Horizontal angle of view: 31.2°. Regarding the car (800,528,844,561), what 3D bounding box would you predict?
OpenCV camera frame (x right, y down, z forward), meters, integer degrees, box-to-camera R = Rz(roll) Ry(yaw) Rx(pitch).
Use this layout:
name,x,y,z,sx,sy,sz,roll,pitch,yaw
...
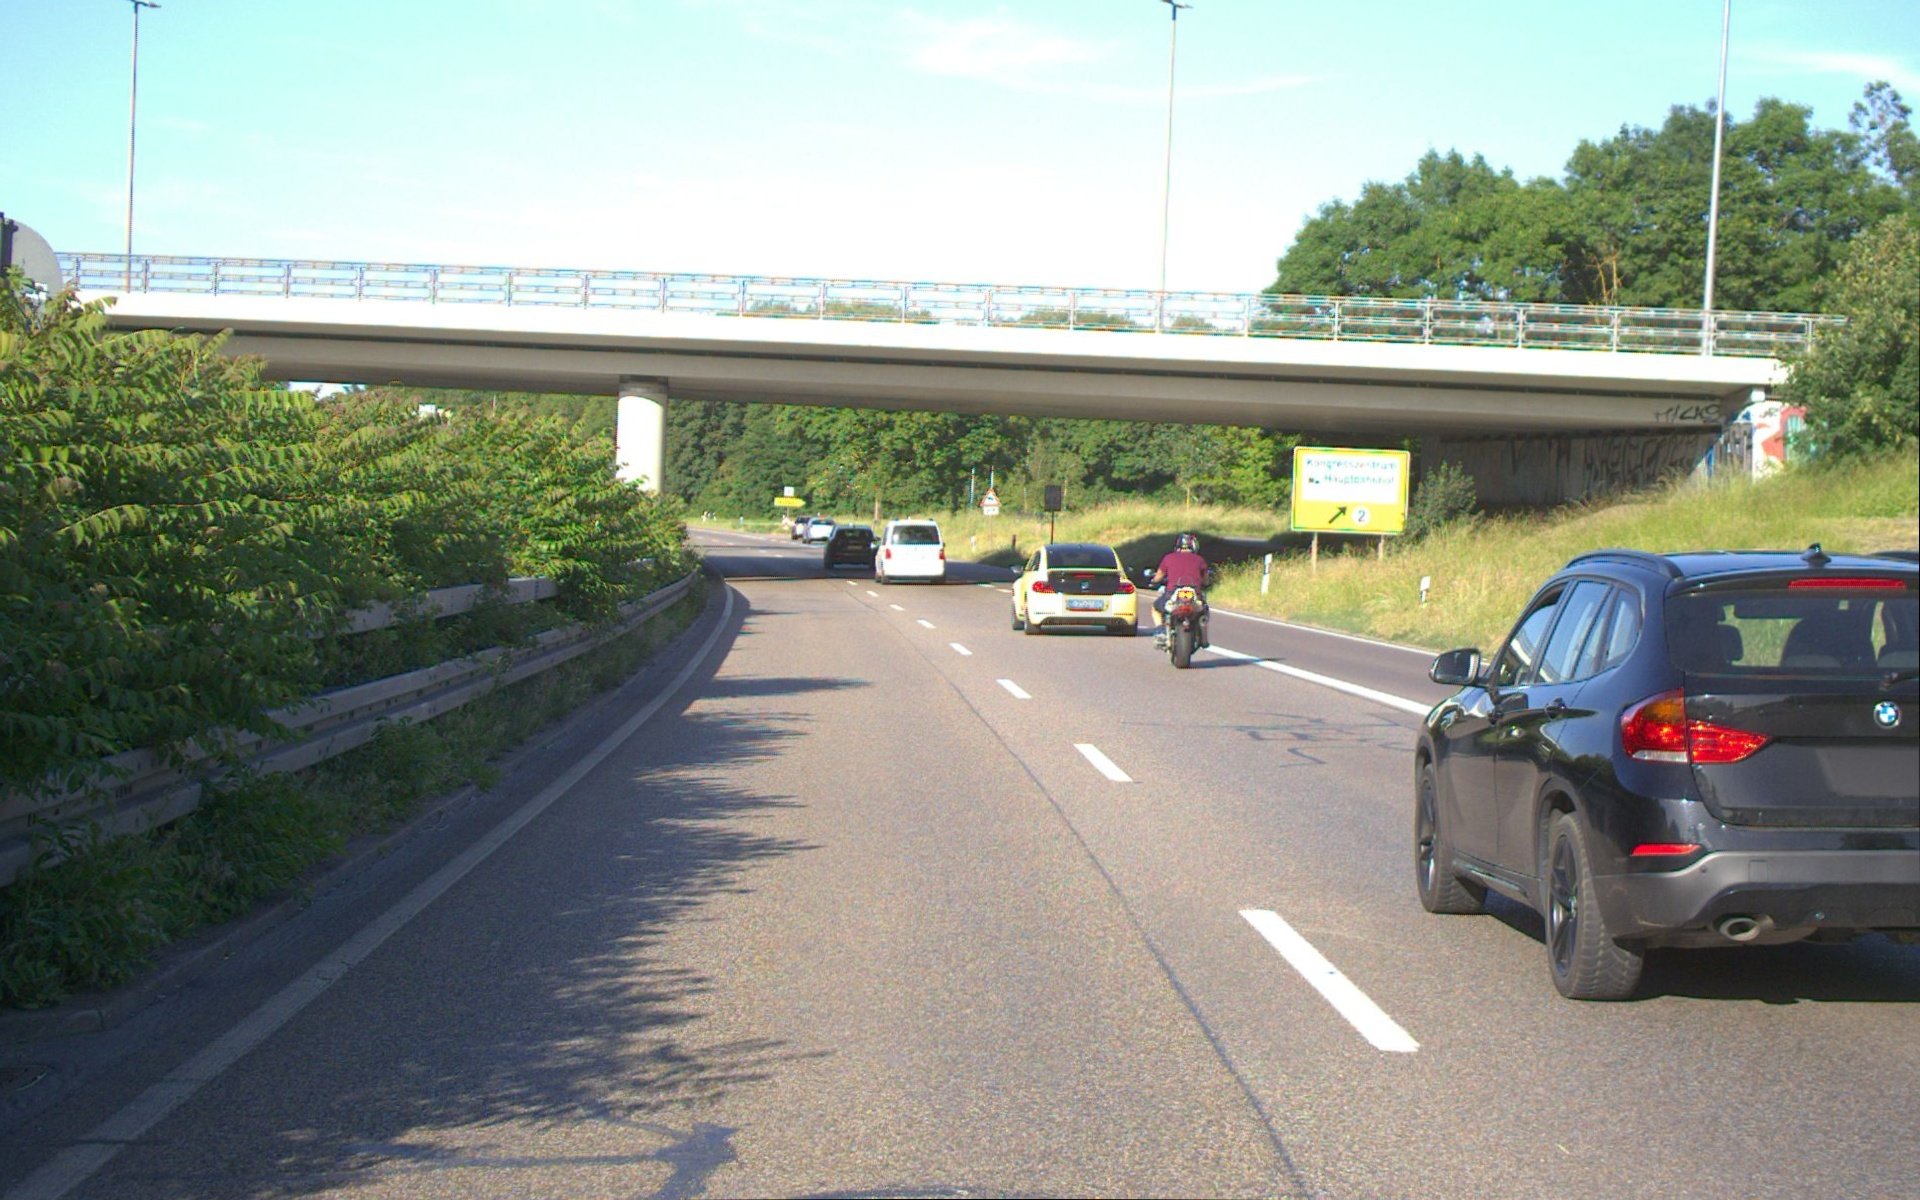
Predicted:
name,x,y,z,sx,sy,sz,roll,pitch,yaw
car,-7.394,-2.972,183.704,1.868,1.679,4.001,2,1,-8

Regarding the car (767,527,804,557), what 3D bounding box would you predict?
name,x,y,z,sx,sy,sz,roll,pitch,yaw
car,-10.238,-3.386,201.335,1.868,1.679,4.001,2,1,-6

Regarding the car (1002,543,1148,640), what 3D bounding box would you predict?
name,x,y,z,sx,sy,sz,roll,pitch,yaw
car,1.827,-0.160,55.825,1.897,1.466,4.001,1,1,-5

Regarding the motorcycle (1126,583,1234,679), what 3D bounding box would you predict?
name,x,y,z,sx,sy,sz,roll,pitch,yaw
motorcycle,2.674,0.359,42.106,0.816,1.066,2.836,1,1,-6

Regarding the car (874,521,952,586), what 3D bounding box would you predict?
name,x,y,z,sx,sy,sz,roll,pitch,yaw
car,-1.311,-1.304,95.079,1.897,1.761,4.001,0,1,-4

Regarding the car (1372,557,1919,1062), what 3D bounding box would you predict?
name,x,y,z,sx,sy,sz,roll,pitch,yaw
car,2.789,0.620,12.943,1.698,1.501,4.580,0,1,-3

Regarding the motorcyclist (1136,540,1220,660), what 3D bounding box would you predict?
name,x,y,z,sx,sy,sz,roll,pitch,yaw
motorcyclist,2.671,-0.009,42.251,0.816,1.442,1.094,1,1,-6

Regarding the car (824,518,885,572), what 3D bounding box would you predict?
name,x,y,z,sx,sy,sz,roll,pitch,yaw
car,-3.599,-1.875,116.747,1.897,1.761,4.001,1,2,-4
